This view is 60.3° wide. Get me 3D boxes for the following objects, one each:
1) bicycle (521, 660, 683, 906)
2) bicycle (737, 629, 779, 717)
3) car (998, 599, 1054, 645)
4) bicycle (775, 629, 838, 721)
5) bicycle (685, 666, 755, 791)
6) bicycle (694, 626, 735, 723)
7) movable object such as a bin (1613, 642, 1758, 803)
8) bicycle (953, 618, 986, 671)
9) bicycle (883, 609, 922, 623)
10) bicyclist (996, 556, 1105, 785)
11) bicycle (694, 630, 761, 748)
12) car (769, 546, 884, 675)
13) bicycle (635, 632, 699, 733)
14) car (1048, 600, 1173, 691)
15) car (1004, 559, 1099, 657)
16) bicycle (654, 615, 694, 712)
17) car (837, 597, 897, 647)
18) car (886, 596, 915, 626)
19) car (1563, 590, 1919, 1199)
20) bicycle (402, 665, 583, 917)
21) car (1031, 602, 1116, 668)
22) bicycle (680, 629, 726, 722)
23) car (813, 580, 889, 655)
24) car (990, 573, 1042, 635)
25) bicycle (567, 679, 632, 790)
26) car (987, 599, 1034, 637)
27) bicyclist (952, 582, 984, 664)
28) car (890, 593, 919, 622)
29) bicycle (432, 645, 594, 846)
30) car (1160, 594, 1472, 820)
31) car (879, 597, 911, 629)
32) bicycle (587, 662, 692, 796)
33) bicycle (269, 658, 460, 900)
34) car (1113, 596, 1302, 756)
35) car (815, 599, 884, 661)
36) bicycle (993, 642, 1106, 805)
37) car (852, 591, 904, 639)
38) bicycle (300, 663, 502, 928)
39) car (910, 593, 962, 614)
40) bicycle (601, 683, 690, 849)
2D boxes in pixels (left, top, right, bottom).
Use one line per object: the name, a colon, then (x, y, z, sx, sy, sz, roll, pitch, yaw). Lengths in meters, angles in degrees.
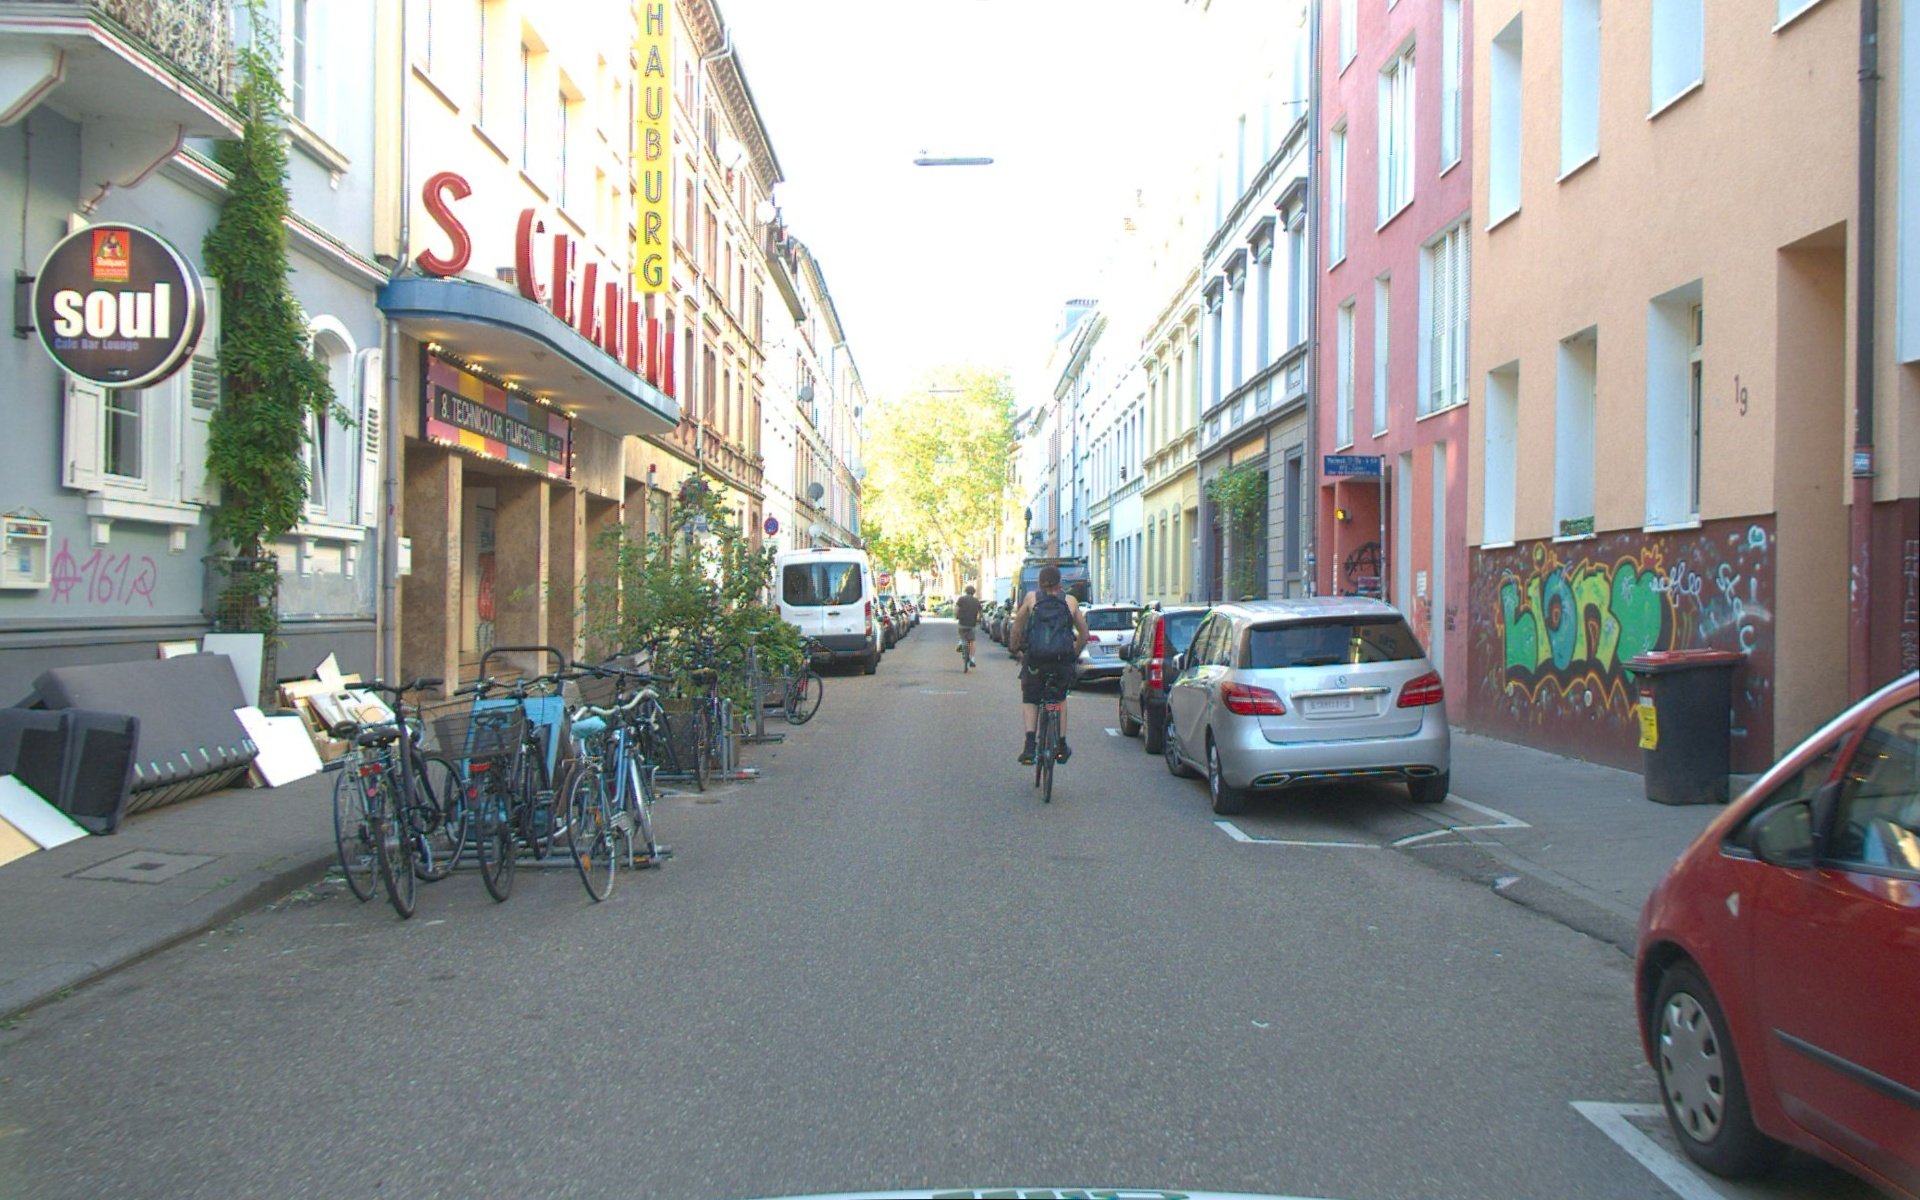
bicycle: (-1.902, 0.928, 8.993, 0.489, 1.125, 1.829, 1, 0, -1)
bicycle: (-2.679, 0.952, 22.049, 0.433, 1.066, 1.863, 2, 0, -4)
car: (2.252, 0.721, 57.062, 1.710, 1.511, 4.242, 0, 0, -1)
bicycle: (-1.965, 0.932, 20.996, 0.453, 1.066, 1.742, 2, 0, -16)
bicycle: (-1.992, 1.048, 13.834, 0.382, 0.932, 1.393, 0, 0, 0)
bicycle: (-3.254, 0.968, 22.011, 0.391, 1.194, 1.668, 2, 0, -4)
movable object such as a bin: (5.177, 0.859, 11.841, 0.678, 1.076, 0.736, -2, 0, 0)
bicycle: (0.185, 0.906, 34.441, 0.650, 1.055, 1.958, 0, 0, -1)
bicycle: (-3.929, 1.106, 112.893, 2.661, 0.908, 0.618, 0, 0, -3)
bicyclist: (0.698, 0.534, 13.078, 0.725, 1.708, 1.116, 2, 0, -1)
bicycle: (-2.435, 0.906, 17.458, 0.535, 1.113, 1.880, 2, 0, -4)
car: (-2.763, 0.200, 35.513, 2.124, 2.495, 5.919, -1, 0, -2)
bicycle: (-3.315, 0.916, 18.789, 0.562, 1.063, 1.408, 1, 0, -5)
car: (2.696, 0.780, 30.618, 1.750, 1.479, 4.546, -2, 0, -1)
car: (2.431, 0.200, 45.744, 2.131, 2.468, 6.308, -1, 0, -1)
bicycle: (-3.721, 0.807, 21.585, 0.332, 1.194, 1.489, 2, 0, -4)
car: (-2.938, 0.675, 52.853, 1.824, 1.465, 4.643, 0, 1, -3)
car: (-3.306, 0.593, 91.218, 1.514, 1.578, 3.462, 0, 0, -4)
car: (2.842, 0.755, 3.534, 1.662, 1.549, 3.980, -1, 0, 0)
bicycle: (-2.477, 0.960, 8.949, 0.434, 1.125, 1.931, 1, 0, -1)
car: (2.657, 0.796, 39.515, 1.712, 1.469, 4.171, 1, 0, -1)
bicycle: (-3.155, 0.910, 20.376, 0.409, 1.066, 1.317, 2, 0, -4)
car: (-2.993, 0.465, 46.159, 1.790, 1.925, 4.613, -2, 0, -1)
car: (2.418, 0.151, 72.344, 2.159, 2.595, 6.037, 0, 0, 1)
bicycle: (-3.040, 1.119, 14.020, 0.251, 0.832, 1.299, 1, 0, 0)
car: (2.030, 0.707, 67.073, 1.690, 1.454, 3.831, 0, 0, -2)
bicyclist: (0.166, 0.474, 34.411, 0.656, 1.687, 0.877, 0, 0, -1)
car: (-3.427, 0.436, 103.419, 1.751, 1.768, 3.875, 0, 0, -1)
bicycle: (-2.836, 0.905, 10.581, 0.796, 1.195, 0.920, 1, 0, -3)
car: (2.763, 0.746, 13.743, 1.710, 1.583, 4.171, 0, 0, 0)
car: (-3.298, 0.622, 83.843, 1.572, 1.557, 3.377, -1, 0, -2)
bicycle: (-2.584, 1.021, 13.475, 0.542, 0.960, 1.571, 0, 0, 0)
bicycle: (-3.210, 0.919, 9.055, 0.434, 1.125, 1.697, 1, 0, -1)
car: (2.679, 0.775, 18.557, 1.569, 1.566, 3.450, -2, 0, 0)
car: (-2.744, 0.720, 41.567, 1.612, 1.472, 3.838, 0, 0, -2)
bicycle: (0.681, 0.935, 13.189, 0.725, 1.120, 2.041, 2, 0, -1)
car: (-3.133, 0.550, 63.871, 1.764, 1.728, 3.999, -2, 0, -1)
bicycle: (-2.815, 0.930, 8.504, 0.434, 1.125, 1.873, 1, 0, -2)
car: (-2.050, 0.274, 142.791, 4.382, 1.790, 1.864, 0, 0, -5)
bicycle: (-1.996, 1.029, 10.589, 0.315, 0.932, 1.290, 0, 0, 0)
